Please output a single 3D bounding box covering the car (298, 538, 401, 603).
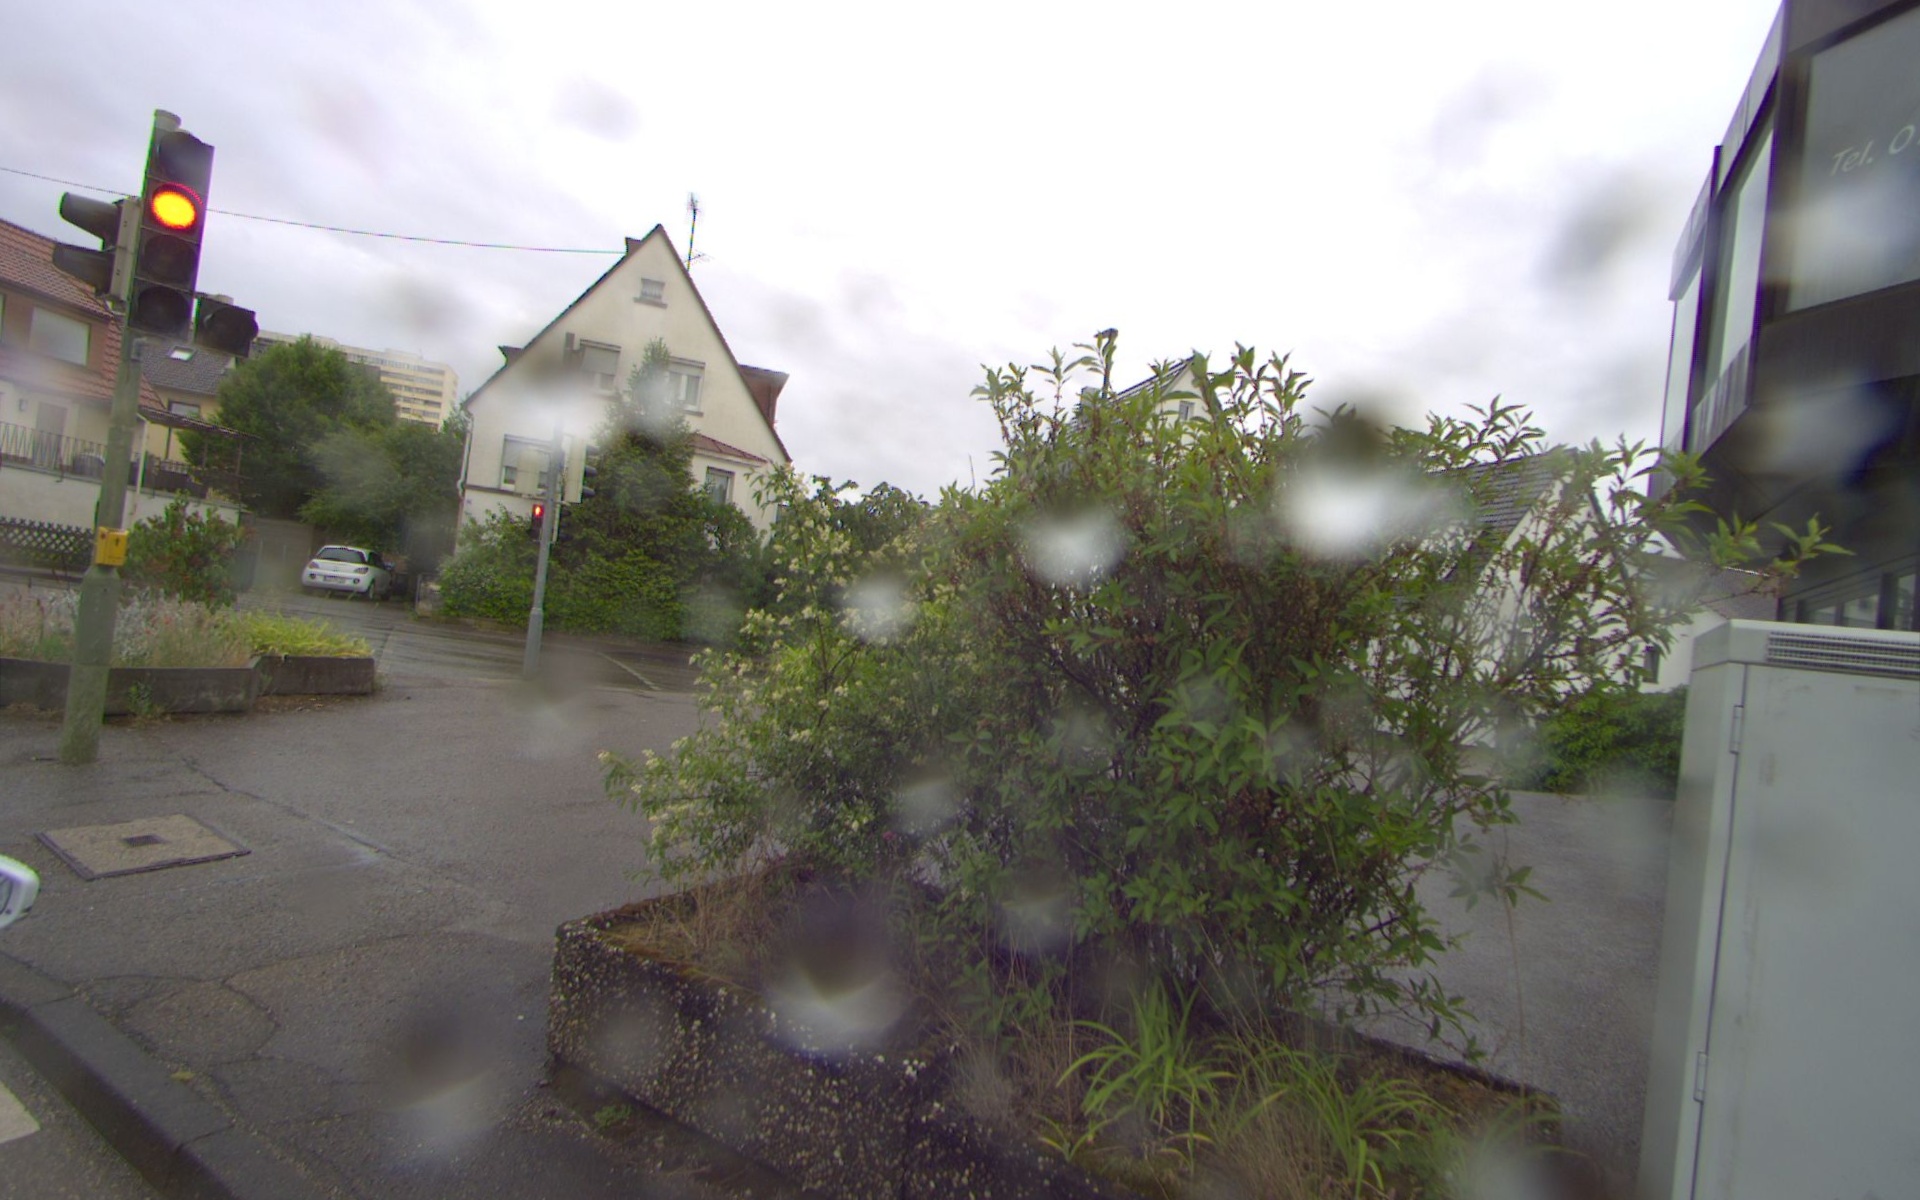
[{"bbox_3d":[-17.776,-0.837,29.479,1.722,1.532,3.982,9,-2,-21],"label":"car"}]
